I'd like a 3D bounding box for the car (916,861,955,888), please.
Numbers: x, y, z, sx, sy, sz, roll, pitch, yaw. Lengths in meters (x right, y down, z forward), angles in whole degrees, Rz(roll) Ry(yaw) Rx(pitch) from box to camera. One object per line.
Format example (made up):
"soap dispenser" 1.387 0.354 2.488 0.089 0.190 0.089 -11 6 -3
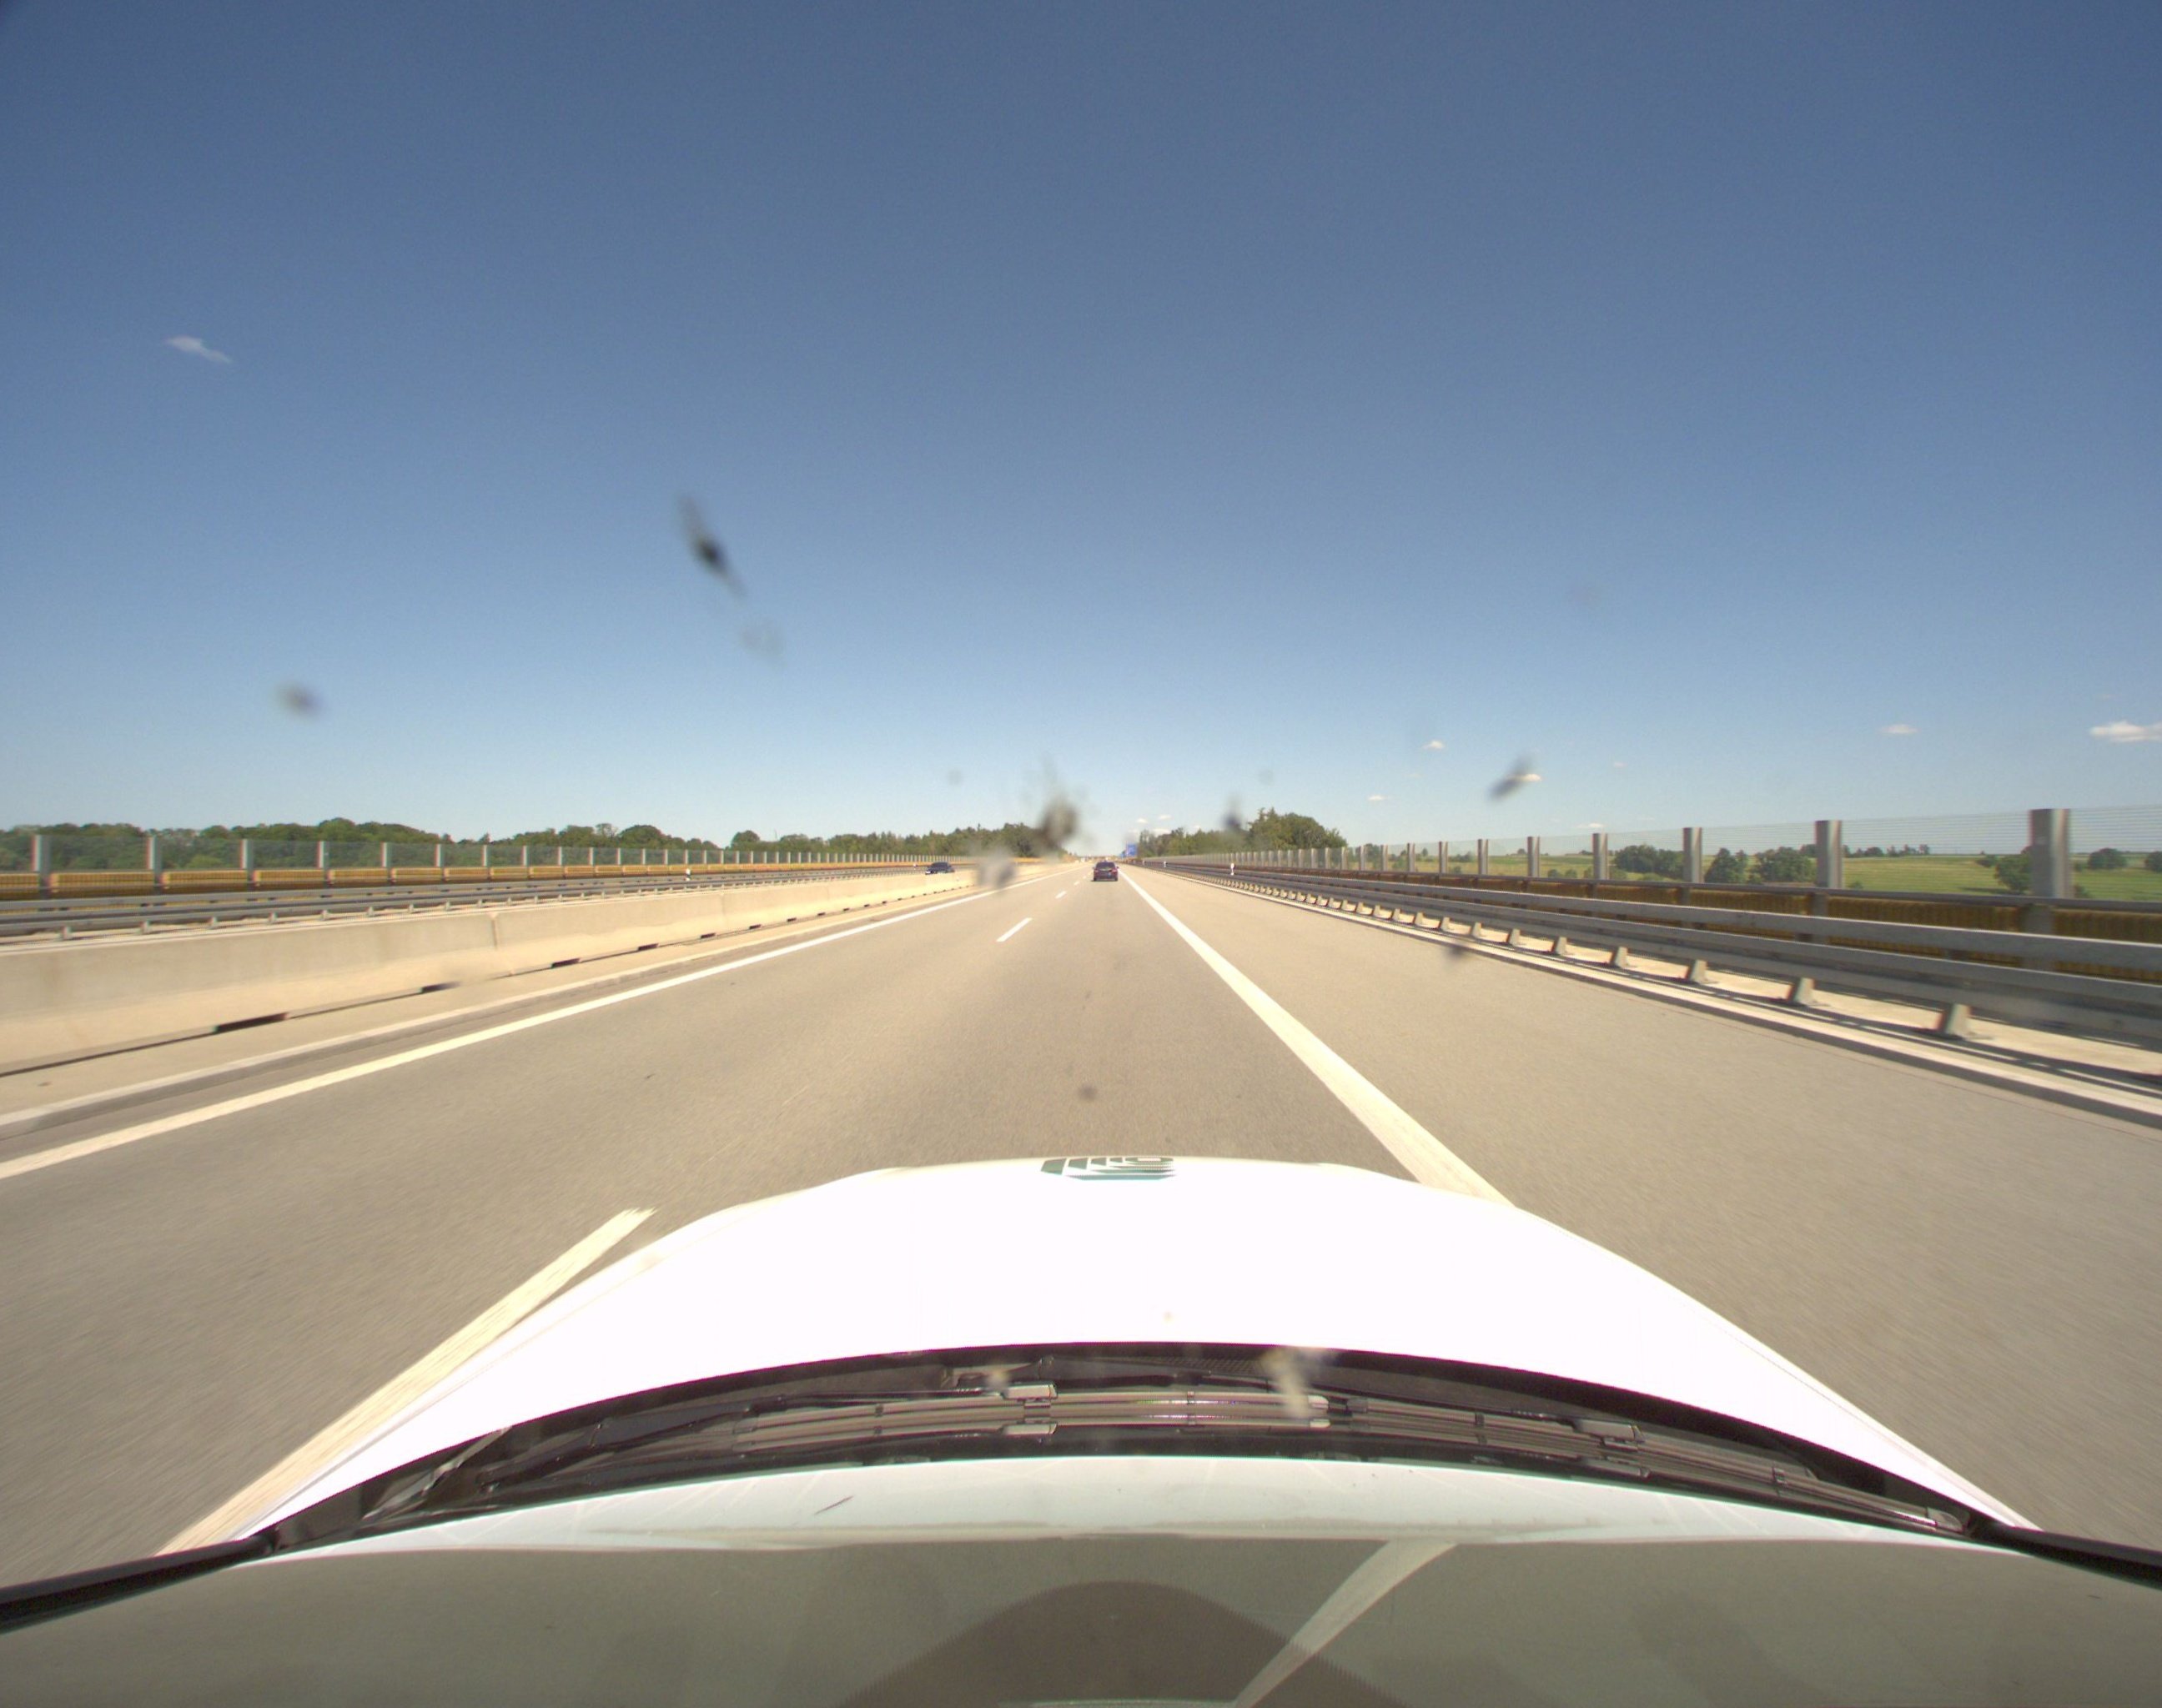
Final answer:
"car" -11.628 1.638 65.332 1.985 2.014 4.765 -2 0 3

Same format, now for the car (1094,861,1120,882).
"car" 1.906 1.214 58.667 1.783 1.374 3.919 -1 0 2
